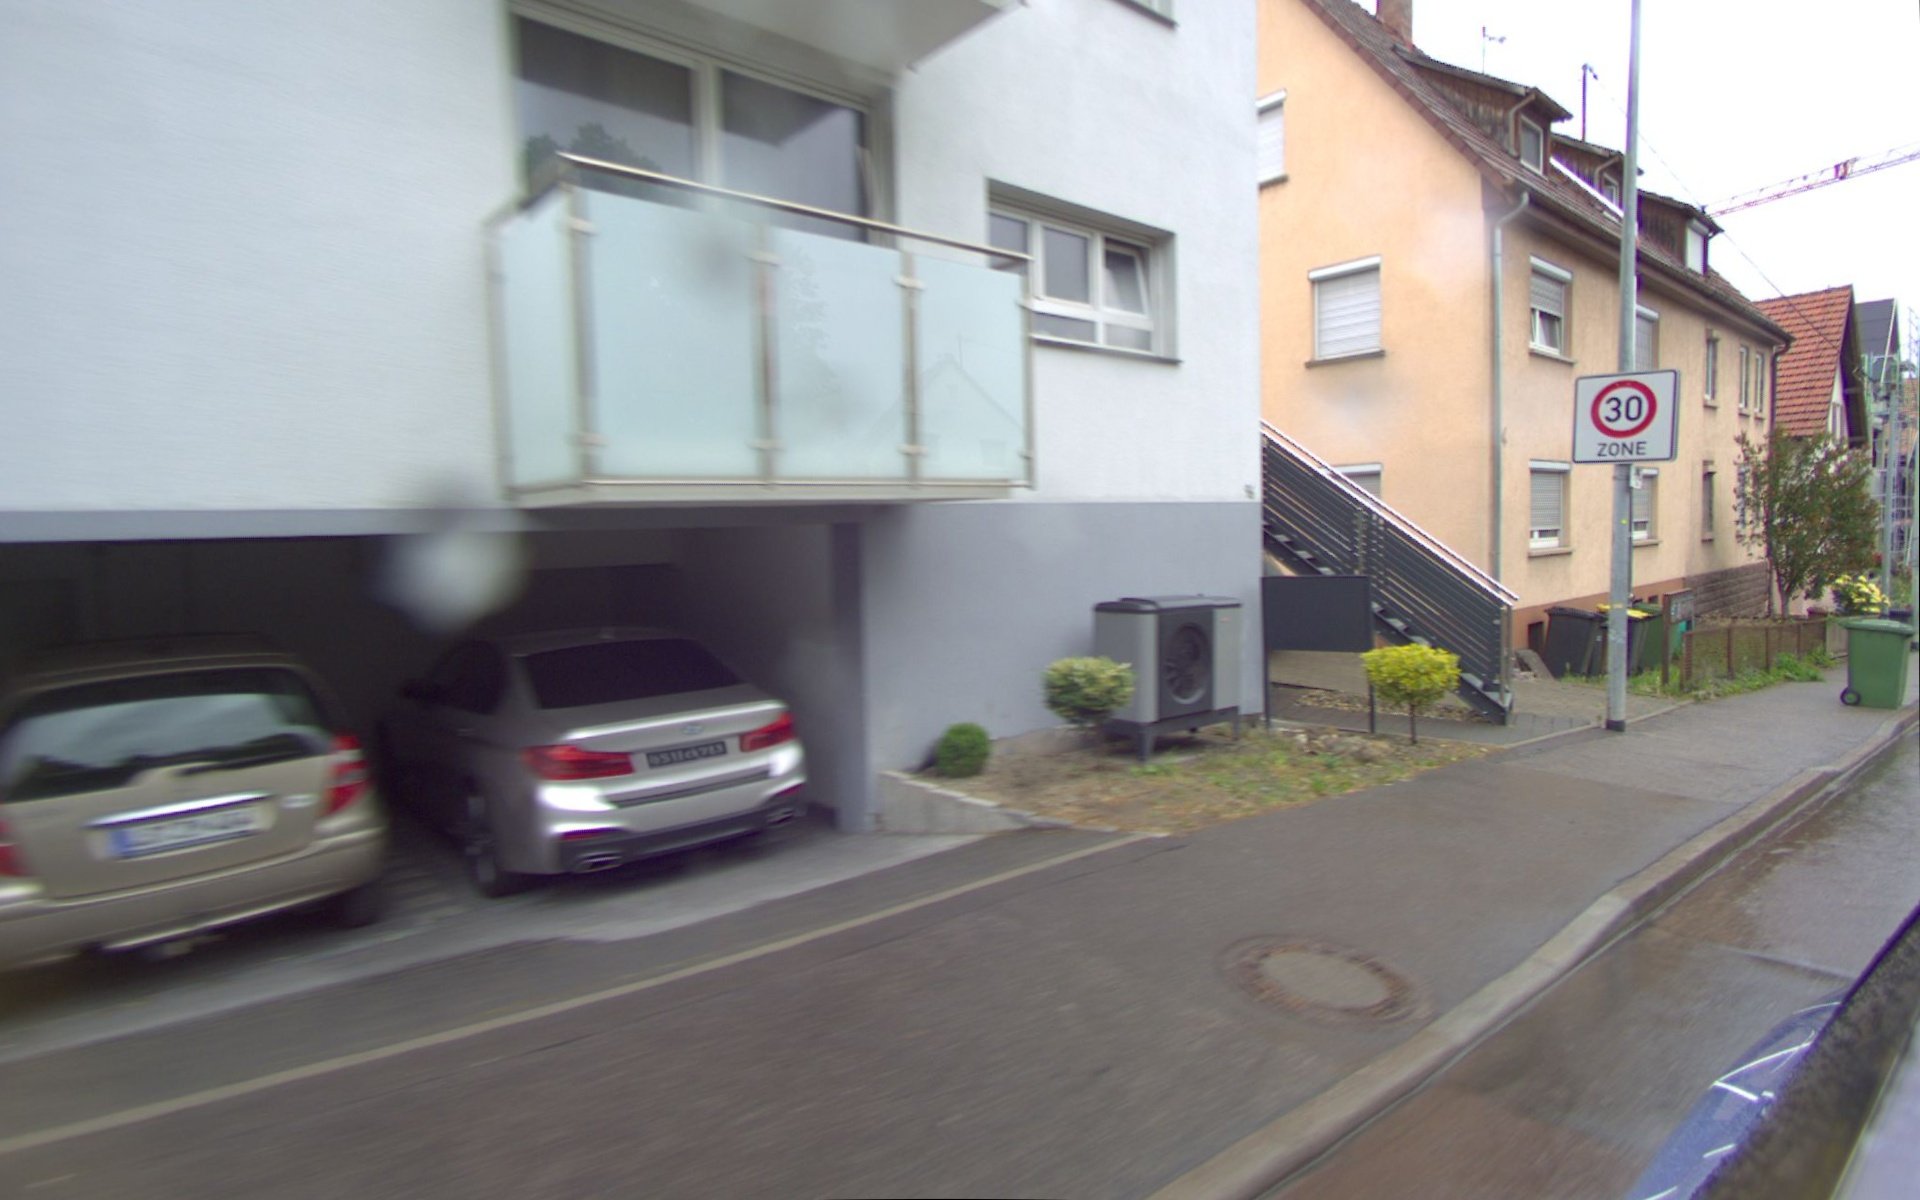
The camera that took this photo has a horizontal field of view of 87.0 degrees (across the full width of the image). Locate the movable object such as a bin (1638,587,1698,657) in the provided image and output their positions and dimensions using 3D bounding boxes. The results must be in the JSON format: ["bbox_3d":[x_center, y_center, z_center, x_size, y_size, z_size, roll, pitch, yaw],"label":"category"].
[{"bbox_3d":[12.118,0.361,17.327,0.645,1.106,0.661,-1,5,-43],"label":"movable object such as a bin"}]

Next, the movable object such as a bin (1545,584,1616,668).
[{"bbox_3d":[8.719,0.349,14.224,0.536,1.106,0.661,-1,5,-43],"label":"movable object such as a bin"}]

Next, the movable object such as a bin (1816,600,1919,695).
[{"bbox_3d":[11.451,0.567,12.737,0.689,1.117,0.916,0,1,-38],"label":"movable object such as a bin"}]

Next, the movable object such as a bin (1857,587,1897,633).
[{"bbox_3d":[23.215,0.248,25.621,0.779,1.089,0.610,-1,5,-43],"label":"movable object such as a bin"}]

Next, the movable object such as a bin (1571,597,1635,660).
[{"bbox_3d":[9.590,0.410,15.094,0.527,0.906,0.671,0,1,-41],"label":"movable object such as a bin"}]

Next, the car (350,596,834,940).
[{"bbox_3d":[-2.880,0.815,7.190,1.725,1.461,4.478,-5,5,-40],"label":"car"}]

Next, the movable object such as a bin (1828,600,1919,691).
[{"bbox_3d":[12.014,0.570,13.209,0.689,1.117,0.916,0,1,-38],"label":"movable object such as a bin"}]

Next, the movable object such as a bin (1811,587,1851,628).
[{"bbox_3d":[22.786,0.182,26.467,0.779,0.978,0.611,-1,7,-43],"label":"movable object such as a bin"}]

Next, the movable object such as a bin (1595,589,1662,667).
[{"bbox_3d":[10.266,0.416,15.546,0.536,1.106,0.661,-1,5,-43],"label":"movable object such as a bin"}]

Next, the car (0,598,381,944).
[{"bbox_3d":[-4.805,0.691,5.968,1.653,1.321,3.979,-1,1,-41],"label":"car"}]

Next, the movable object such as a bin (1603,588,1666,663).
[{"bbox_3d":[10.691,0.389,16.039,0.536,1.106,0.646,-1,5,-43],"label":"movable object such as a bin"}]

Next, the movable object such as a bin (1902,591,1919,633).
[{"bbox_3d":[23.518,0.292,24.957,0.479,1.031,0.380,0,1,-41],"label":"movable object such as a bin"}]

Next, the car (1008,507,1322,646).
[{"bbox_3d":[2.862,-0.443,14.579,3.983,1.465,1.760,9,8,37],"label":"car"}]

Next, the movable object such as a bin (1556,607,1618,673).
[{"bbox_3d":[9.119,0.574,14.728,0.527,0.906,0.638,0,1,-41],"label":"movable object such as a bin"}]
